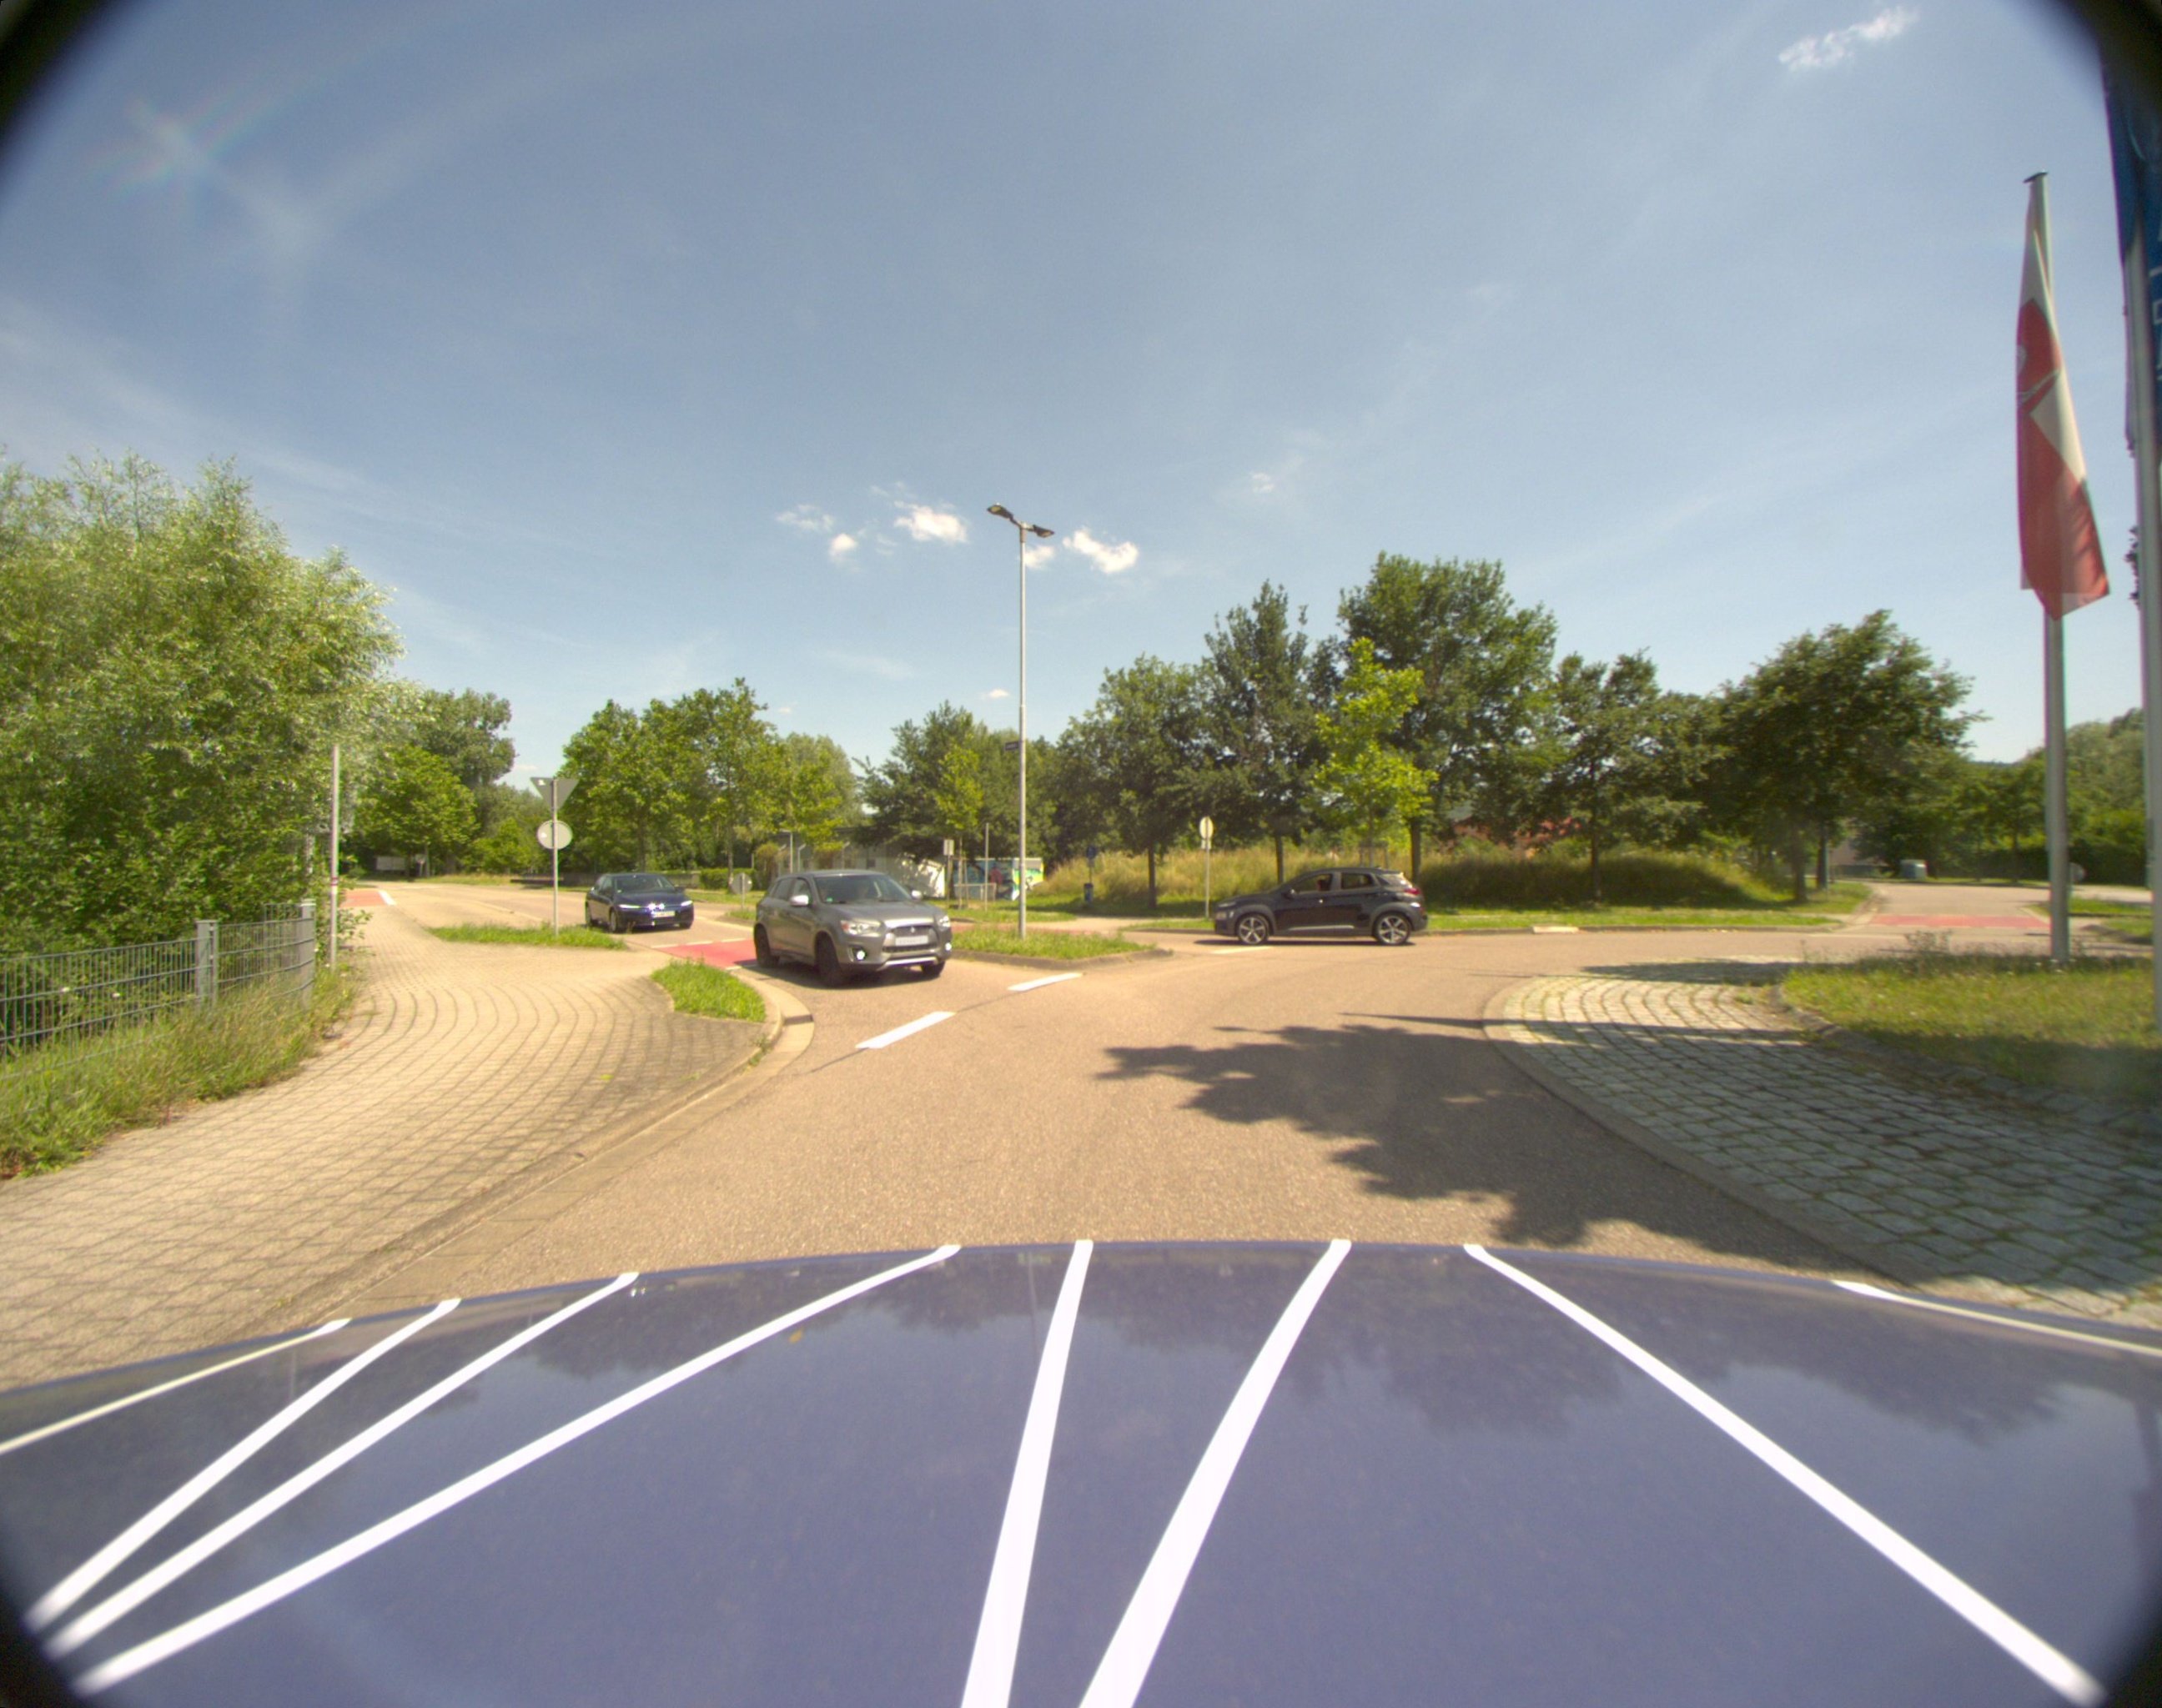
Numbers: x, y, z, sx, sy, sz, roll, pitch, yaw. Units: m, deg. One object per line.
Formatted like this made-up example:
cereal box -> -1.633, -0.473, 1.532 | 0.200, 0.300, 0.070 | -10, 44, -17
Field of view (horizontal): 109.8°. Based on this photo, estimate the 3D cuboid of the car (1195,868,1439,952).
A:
car -> 4.682, 1.094, 15.531 | 4.479, 1.559, 1.868 | -1, -1, 13

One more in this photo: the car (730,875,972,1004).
car -> -3.743, 1.141, 11.834 | 1.755, 1.525, 4.511 | -1, 0, -44

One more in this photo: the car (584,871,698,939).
car -> -11.512, 1.228, 19.747 | 1.798, 1.530, 4.120 | -1, 0, -41
